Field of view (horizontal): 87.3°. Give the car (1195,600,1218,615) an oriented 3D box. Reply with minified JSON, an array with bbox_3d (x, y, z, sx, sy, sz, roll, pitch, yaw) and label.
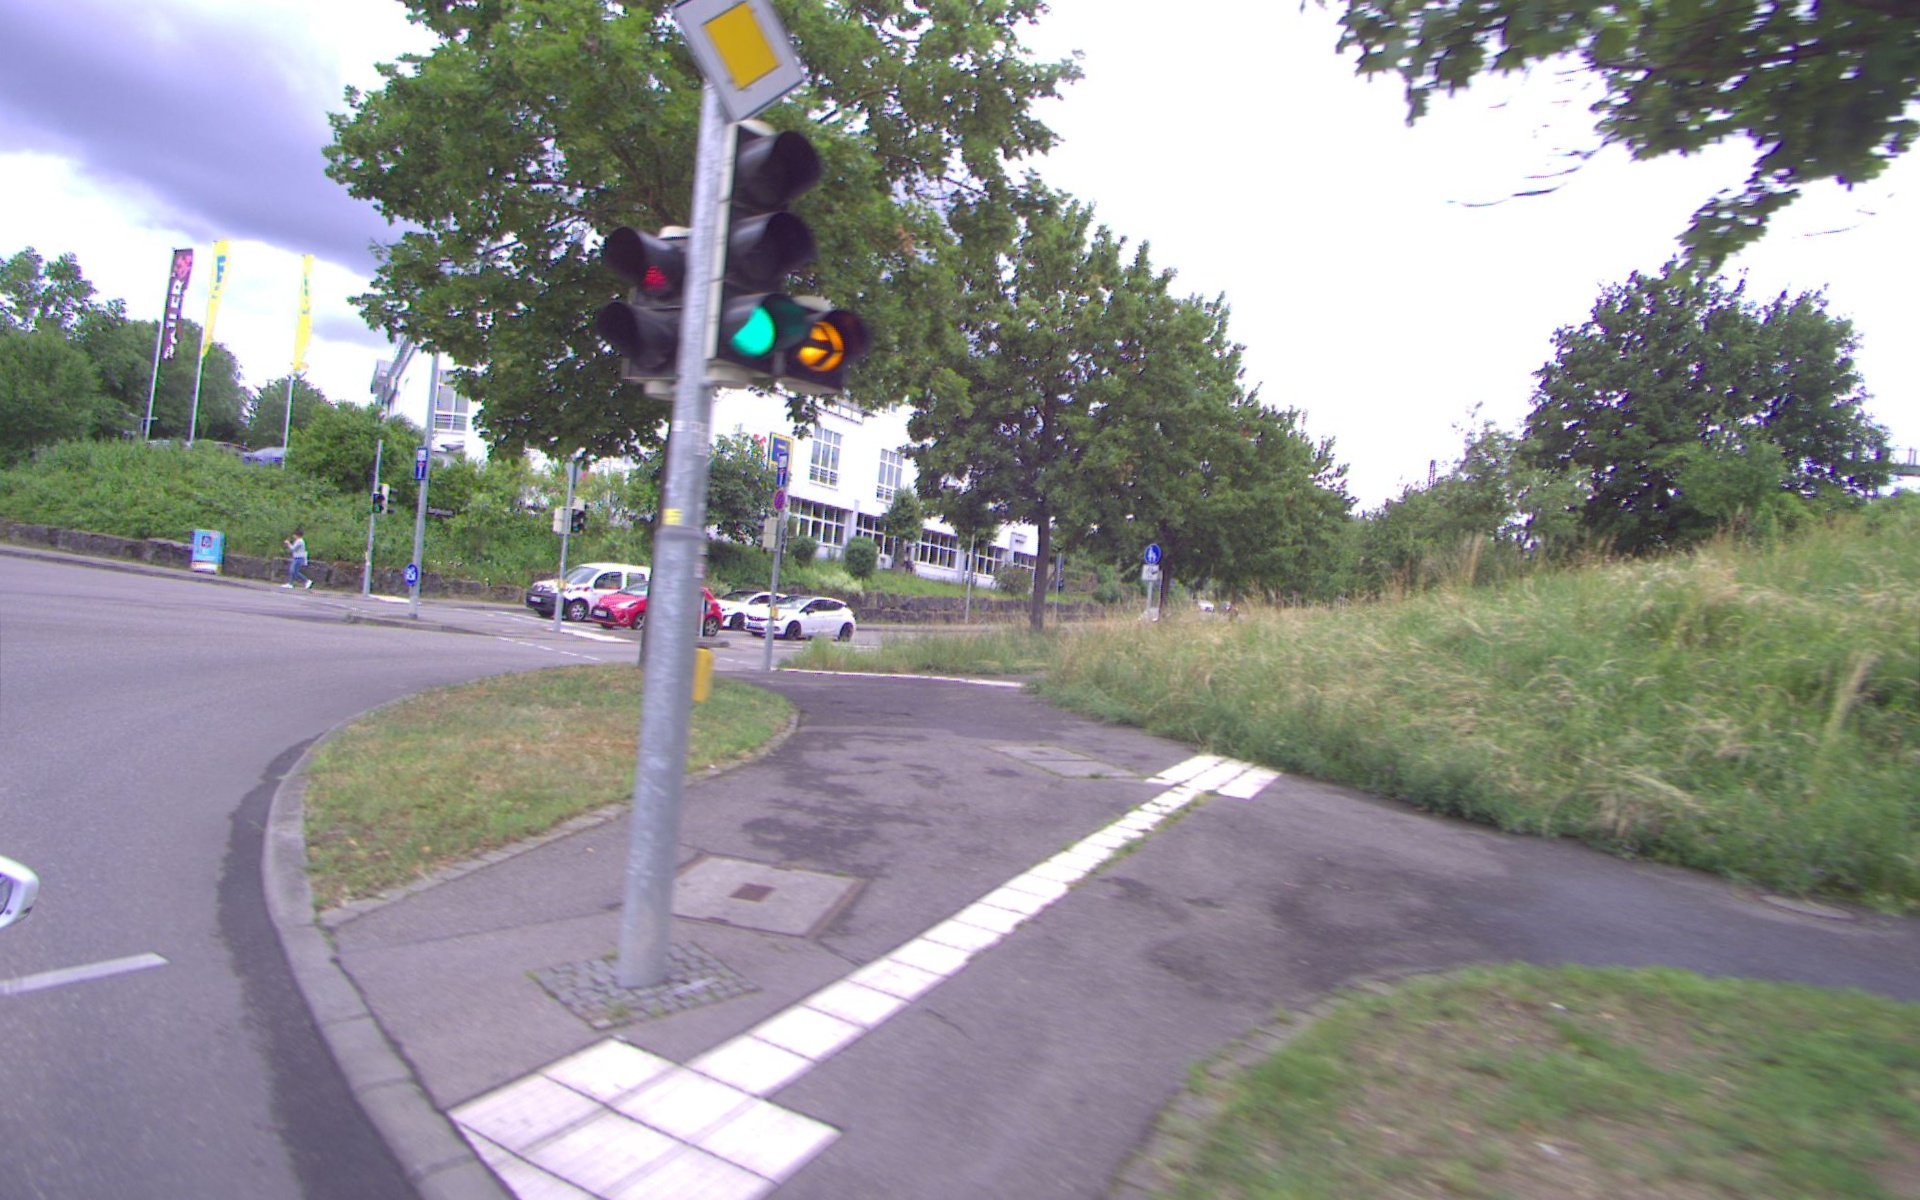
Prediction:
[{"bbox_3d":[32.675,0.964,133.605,1.787,1.835,4.557,1,2,-2],"label":"car"}]

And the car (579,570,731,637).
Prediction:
[{"bbox_3d":[-8.705,0.125,28.967,1.732,1.515,3.821,6,0,35],"label":"car"}]

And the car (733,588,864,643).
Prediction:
[{"bbox_3d":[-5.295,0.560,33.584,1.732,1.473,4.299,6,0,35],"label":"car"}]

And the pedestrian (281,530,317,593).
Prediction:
[{"bbox_3d":[-18.159,-1.054,27.641,0.619,1.627,0.574,8,-1,-36],"label":"pedestrian"}]

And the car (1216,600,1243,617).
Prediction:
[{"bbox_3d":[31.536,0.964,117.958,1.787,1.835,4.557,1,2,-2],"label":"car"}]

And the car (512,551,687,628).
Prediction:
[{"bbox_3d":[-10.964,-0.274,30.949,1.921,1.822,4.710,6,-1,35],"label":"car"}]

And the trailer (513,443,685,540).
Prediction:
[{"bbox_3d":[-15.800,-4.738,44.277,6.371,3.090,2.473,8,-1,4],"label":"trailer"}]

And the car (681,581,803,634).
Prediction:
[{"bbox_3d":[-7.665,0.298,35.614,1.935,1.473,3.821,6,0,35],"label":"car"}]

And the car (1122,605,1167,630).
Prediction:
[{"bbox_3d":[12.537,1.168,68.206,1.730,1.475,3.821,6,3,29],"label":"car"}]
